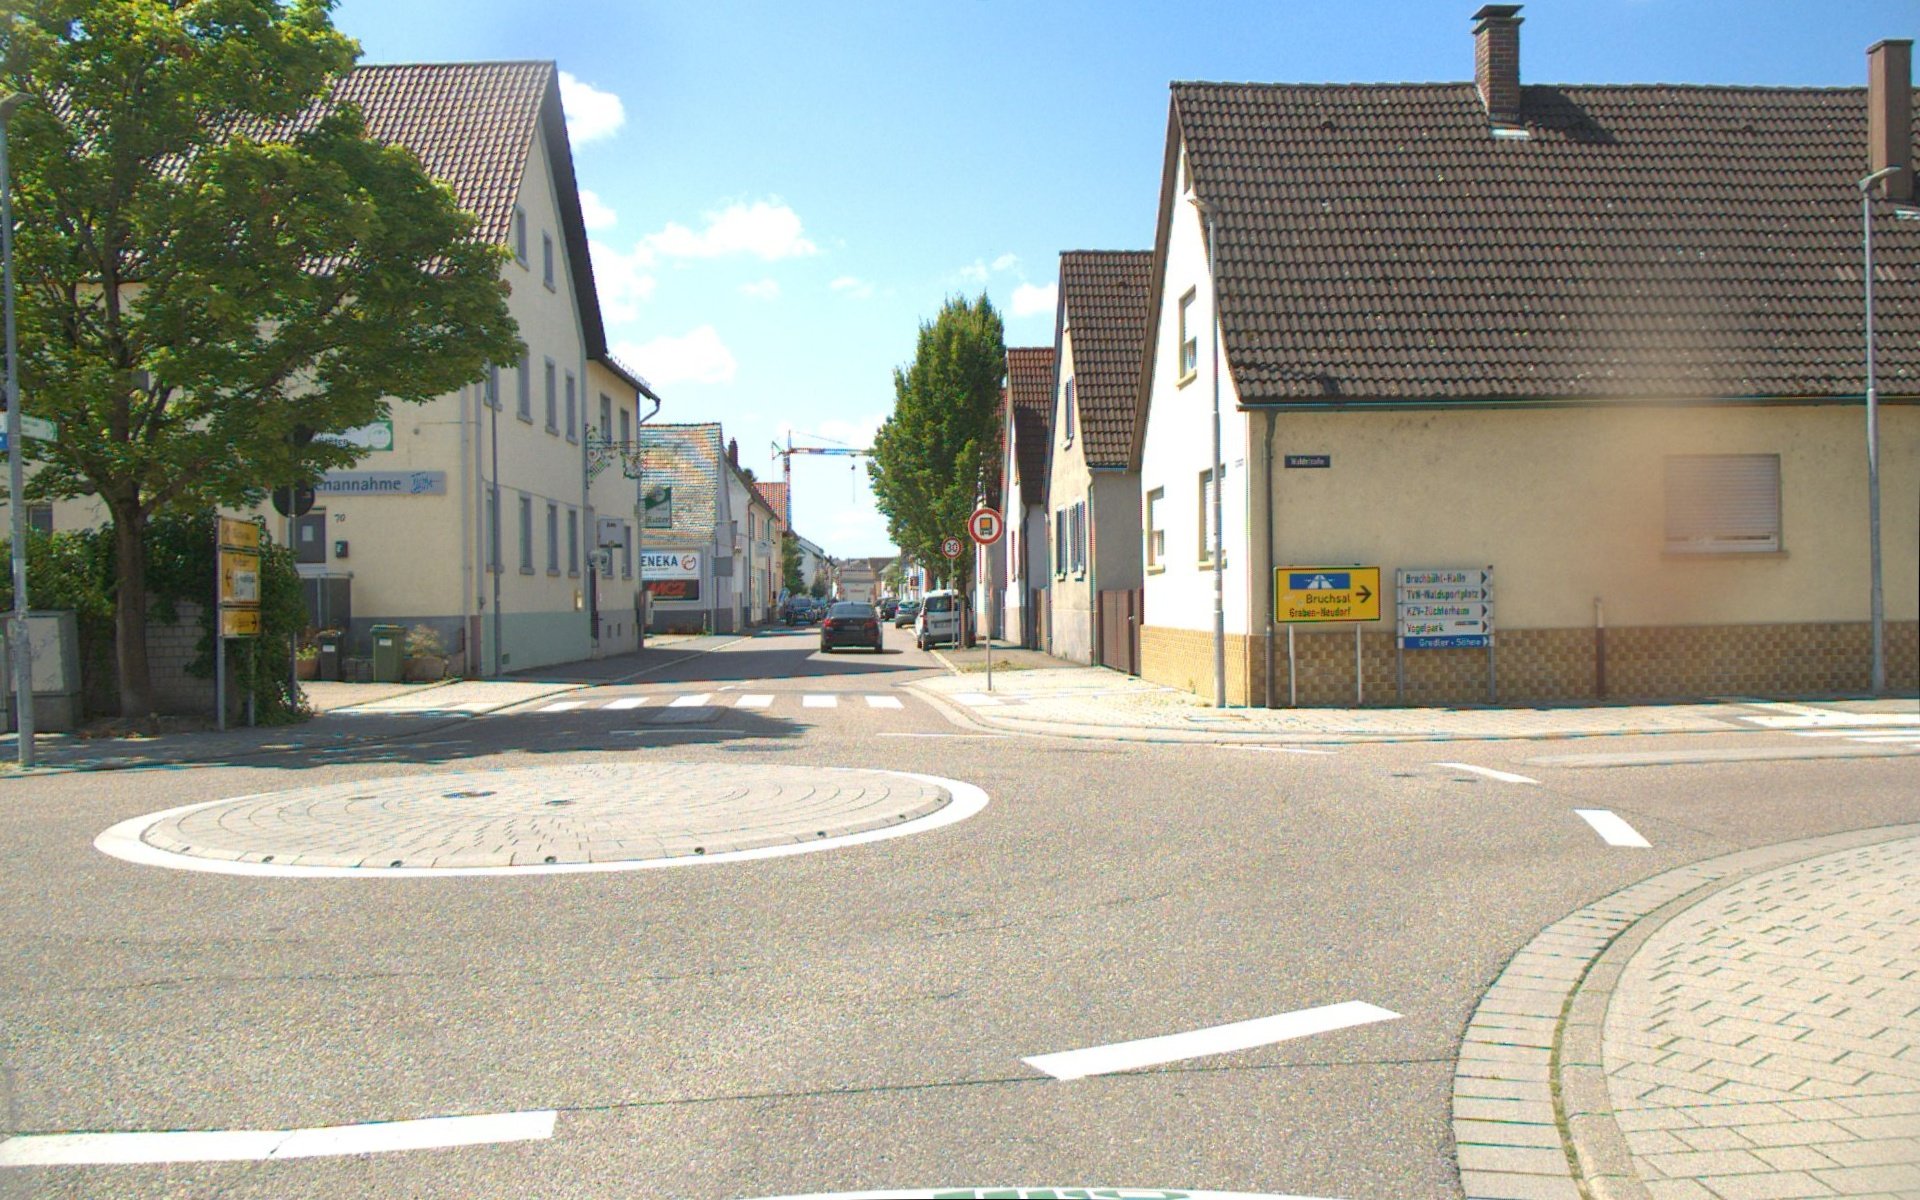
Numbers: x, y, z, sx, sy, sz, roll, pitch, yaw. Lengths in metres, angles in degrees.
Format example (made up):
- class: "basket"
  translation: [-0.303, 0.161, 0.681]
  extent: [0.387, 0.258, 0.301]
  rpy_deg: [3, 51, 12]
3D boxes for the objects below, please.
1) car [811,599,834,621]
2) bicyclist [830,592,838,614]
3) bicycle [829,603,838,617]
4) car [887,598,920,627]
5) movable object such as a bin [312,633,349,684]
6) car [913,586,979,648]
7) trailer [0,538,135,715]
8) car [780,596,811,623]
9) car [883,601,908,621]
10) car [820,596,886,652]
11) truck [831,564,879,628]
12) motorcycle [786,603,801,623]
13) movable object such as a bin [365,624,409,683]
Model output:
- class: "car"
  translation: [-10.629, 0.763, 128.056]
  extent: [1.773, 1.617, 3.997]
  rpy_deg: [0, 0, -4]
- class: "bicyclist"
  translation: [-12.155, 0.273, 159.482]
  extent: [0.725, 2.095, 0.844]
  rpy_deg: [1, -1, -2]
- class: "bicycle"
  translation: [-12.178, 0.971, 159.621]
  extent: [0.736, 1.331, 2.684]
  rpy_deg: [1, -1, -3]
- class: "car"
  translation: [-3.027, 0.659, 89.014]
  extent: [1.685, 1.487, 4.155]
  rpy_deg: [0, 0, -2]
- class: "movable object such as a bin"
  translation: [-11.931, 1.100, 31.356]
  extent: [0.469, 0.944, 0.547]
  rpy_deg: [-1, 0, -1]
- class: "car"
  translation: [-0.482, 0.507, 52.376]
  extent: [1.686, 1.821, 4.139]
  rpy_deg: [-2, 0, -5]
- class: "trailer"
  translation: [-13.849, 0.344, 23.800]
  extent: [1.841, 2.376, 4.521]
  rpy_deg: [1, 0, -3]
- class: "car"
  translation: [-10.219, 0.577, 102.903]
  extent: [1.773, 1.617, 3.997]
  rpy_deg: [0, 0, -4]
- class: "car"
  translation: [-4.580, 0.784, 117.309]
  extent: [1.685, 1.379, 4.154]
  rpy_deg: [0, 0, -3]
- class: "car"
  translation: [-3.175, 0.678, 49.693]
  extent: [1.864, 1.591, 4.474]
  rpy_deg: [0, 0, -2]
- class: "truck"
  translation: [-7.378, -0.240, 117.740]
  extent: [3.081, 4.325, 9.297]
  rpy_deg: [1, -1, -2]
- class: "motorcycle"
  translation: [-9.987, 0.766, 99.091]
  extent: [0.829, 1.190, 2.467]
  rpy_deg: [1, -1, -5]
- class: "movable object such as a bin"
  translation: [-10.921, 1.017, 31.545]
  extent: [0.587, 1.097, 0.658]
  rpy_deg: [-1, 0, -1]
